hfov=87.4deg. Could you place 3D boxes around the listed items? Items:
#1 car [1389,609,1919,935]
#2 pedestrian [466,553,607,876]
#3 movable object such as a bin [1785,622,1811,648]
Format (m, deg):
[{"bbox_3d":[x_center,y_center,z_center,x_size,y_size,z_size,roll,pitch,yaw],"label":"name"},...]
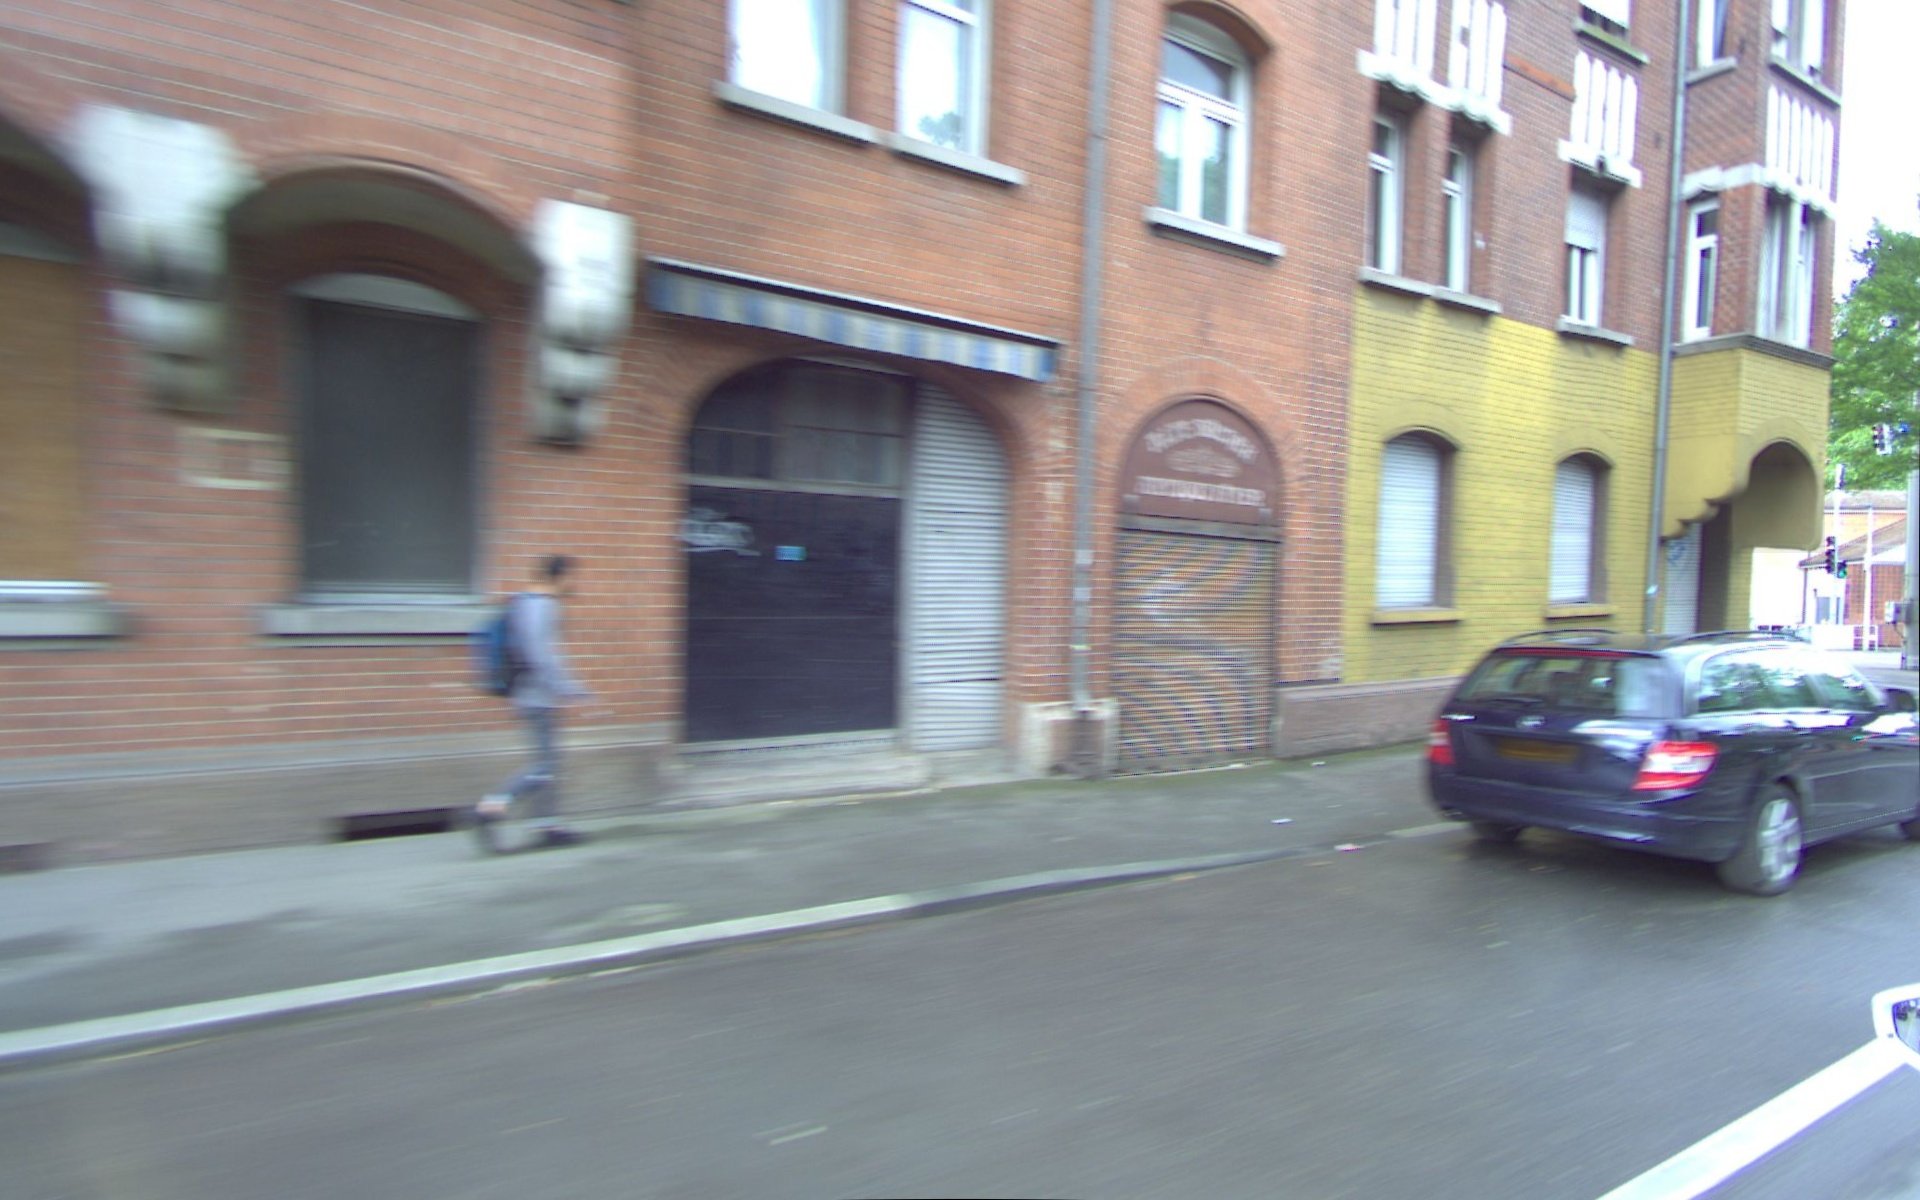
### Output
[{"bbox_3d":[5.098,0.886,6.879,4.338,1.506,1.716,-1,2,-30],"label":"car"},{"bbox_3d":[-2.338,0.575,5.519,0.625,1.631,0.656,0,3,-30],"label":"pedestrian"},{"bbox_3d":[45.734,1.902,54.854,0.834,1.358,0.801,1,-1,17],"label":"movable object such as a bin"}]
